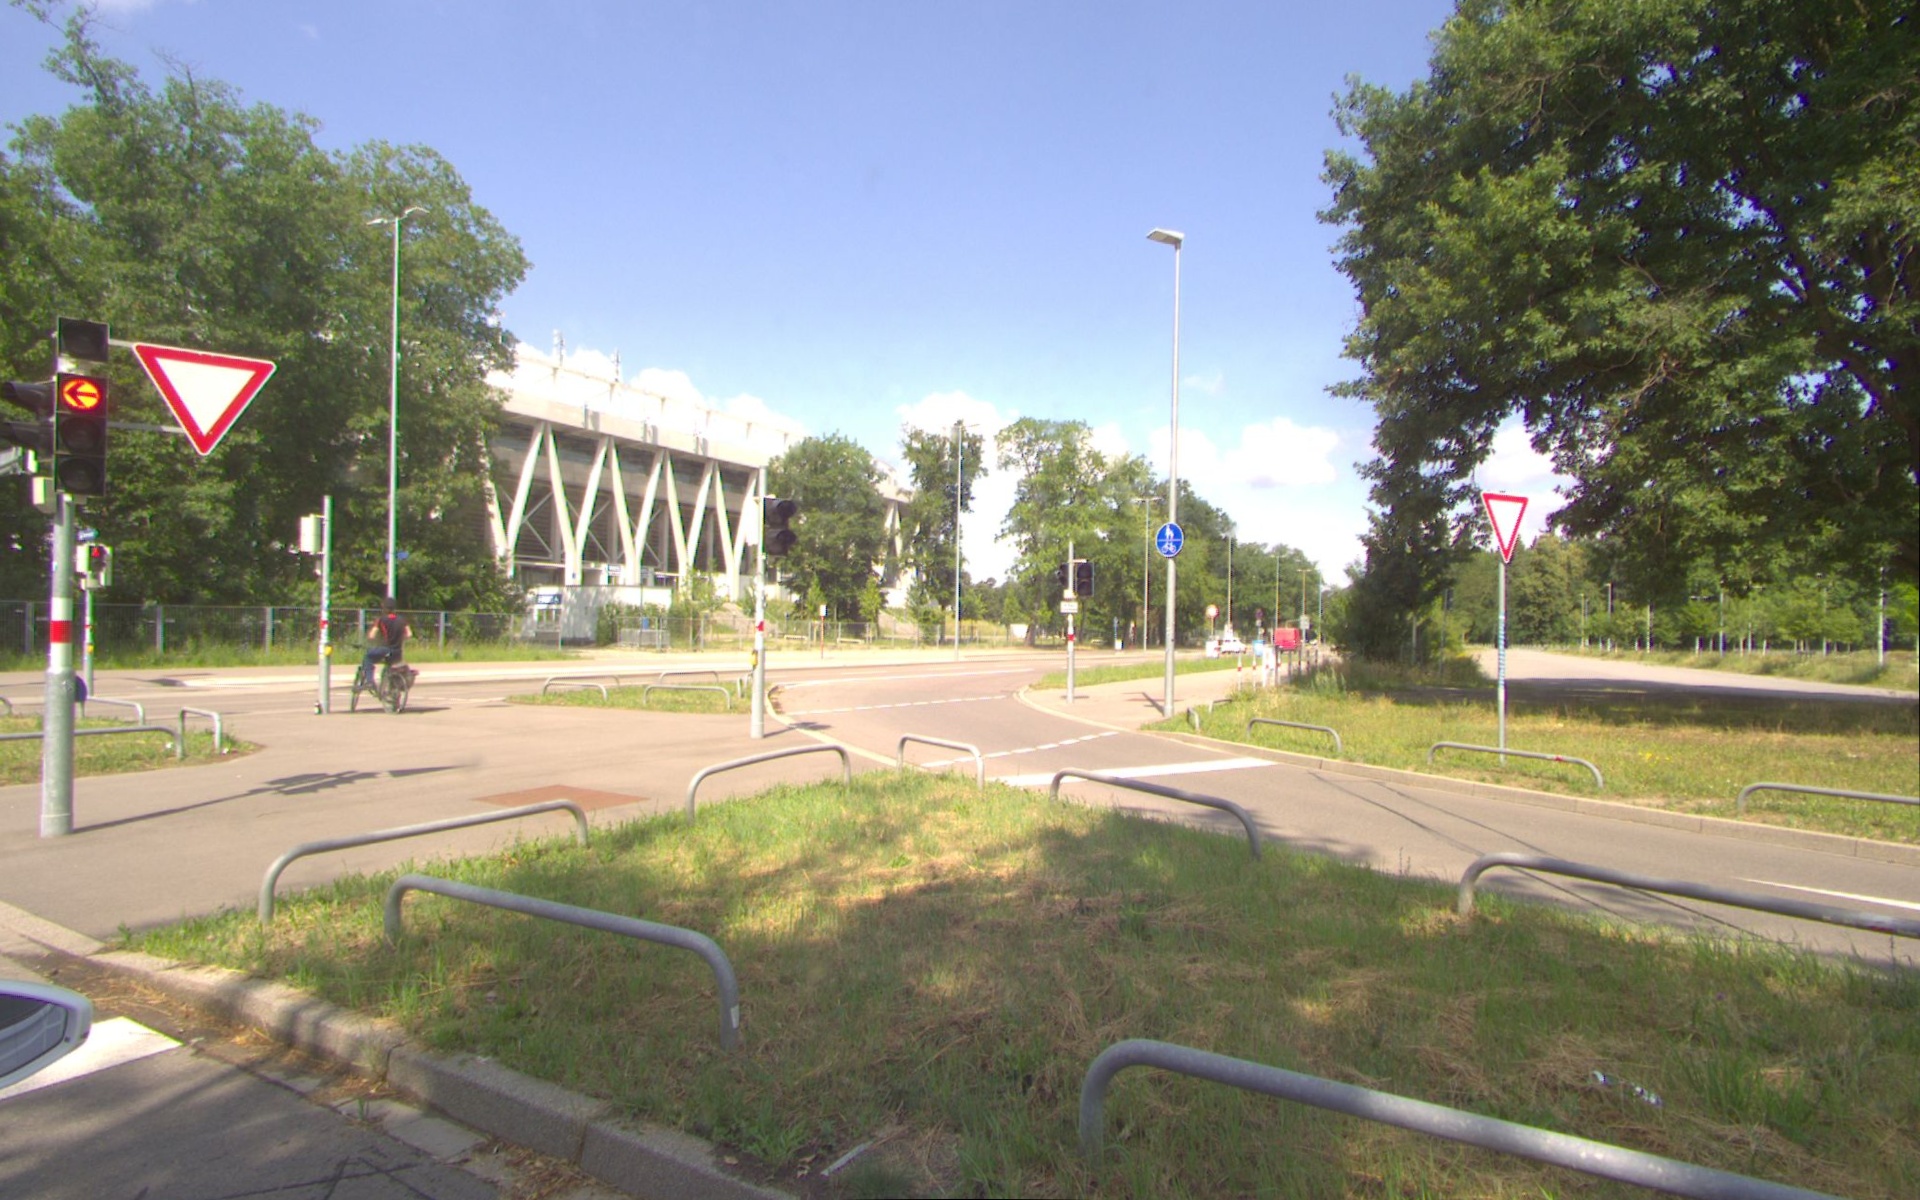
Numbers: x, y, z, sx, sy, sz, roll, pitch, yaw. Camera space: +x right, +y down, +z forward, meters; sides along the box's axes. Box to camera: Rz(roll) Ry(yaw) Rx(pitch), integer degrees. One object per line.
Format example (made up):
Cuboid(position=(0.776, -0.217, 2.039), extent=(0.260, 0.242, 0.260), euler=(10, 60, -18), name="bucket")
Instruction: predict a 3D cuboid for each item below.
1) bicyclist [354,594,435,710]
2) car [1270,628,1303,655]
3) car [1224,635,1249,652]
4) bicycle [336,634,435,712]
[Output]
Cuboid(position=(-9.270, 0.839, 16.424), extent=(0.967, 1.820, 0.881), euler=(-1, -2, 40), name="bicyclist")
Cuboid(position=(30.285, 3.809, 92.891), extent=(2.031, 2.440, 3.982), euler=(-1, -2, 31), name="car")
Cuboid(position=(25.876, 4.079, 93.646), extent=(1.334, 1.544, 3.460), euler=(-1, -2, 31), name="car")
Cuboid(position=(-9.529, 1.173, 16.591), extent=(1.876, 1.221, 0.876), euler=(-2, -2, 42), name="bicycle")
